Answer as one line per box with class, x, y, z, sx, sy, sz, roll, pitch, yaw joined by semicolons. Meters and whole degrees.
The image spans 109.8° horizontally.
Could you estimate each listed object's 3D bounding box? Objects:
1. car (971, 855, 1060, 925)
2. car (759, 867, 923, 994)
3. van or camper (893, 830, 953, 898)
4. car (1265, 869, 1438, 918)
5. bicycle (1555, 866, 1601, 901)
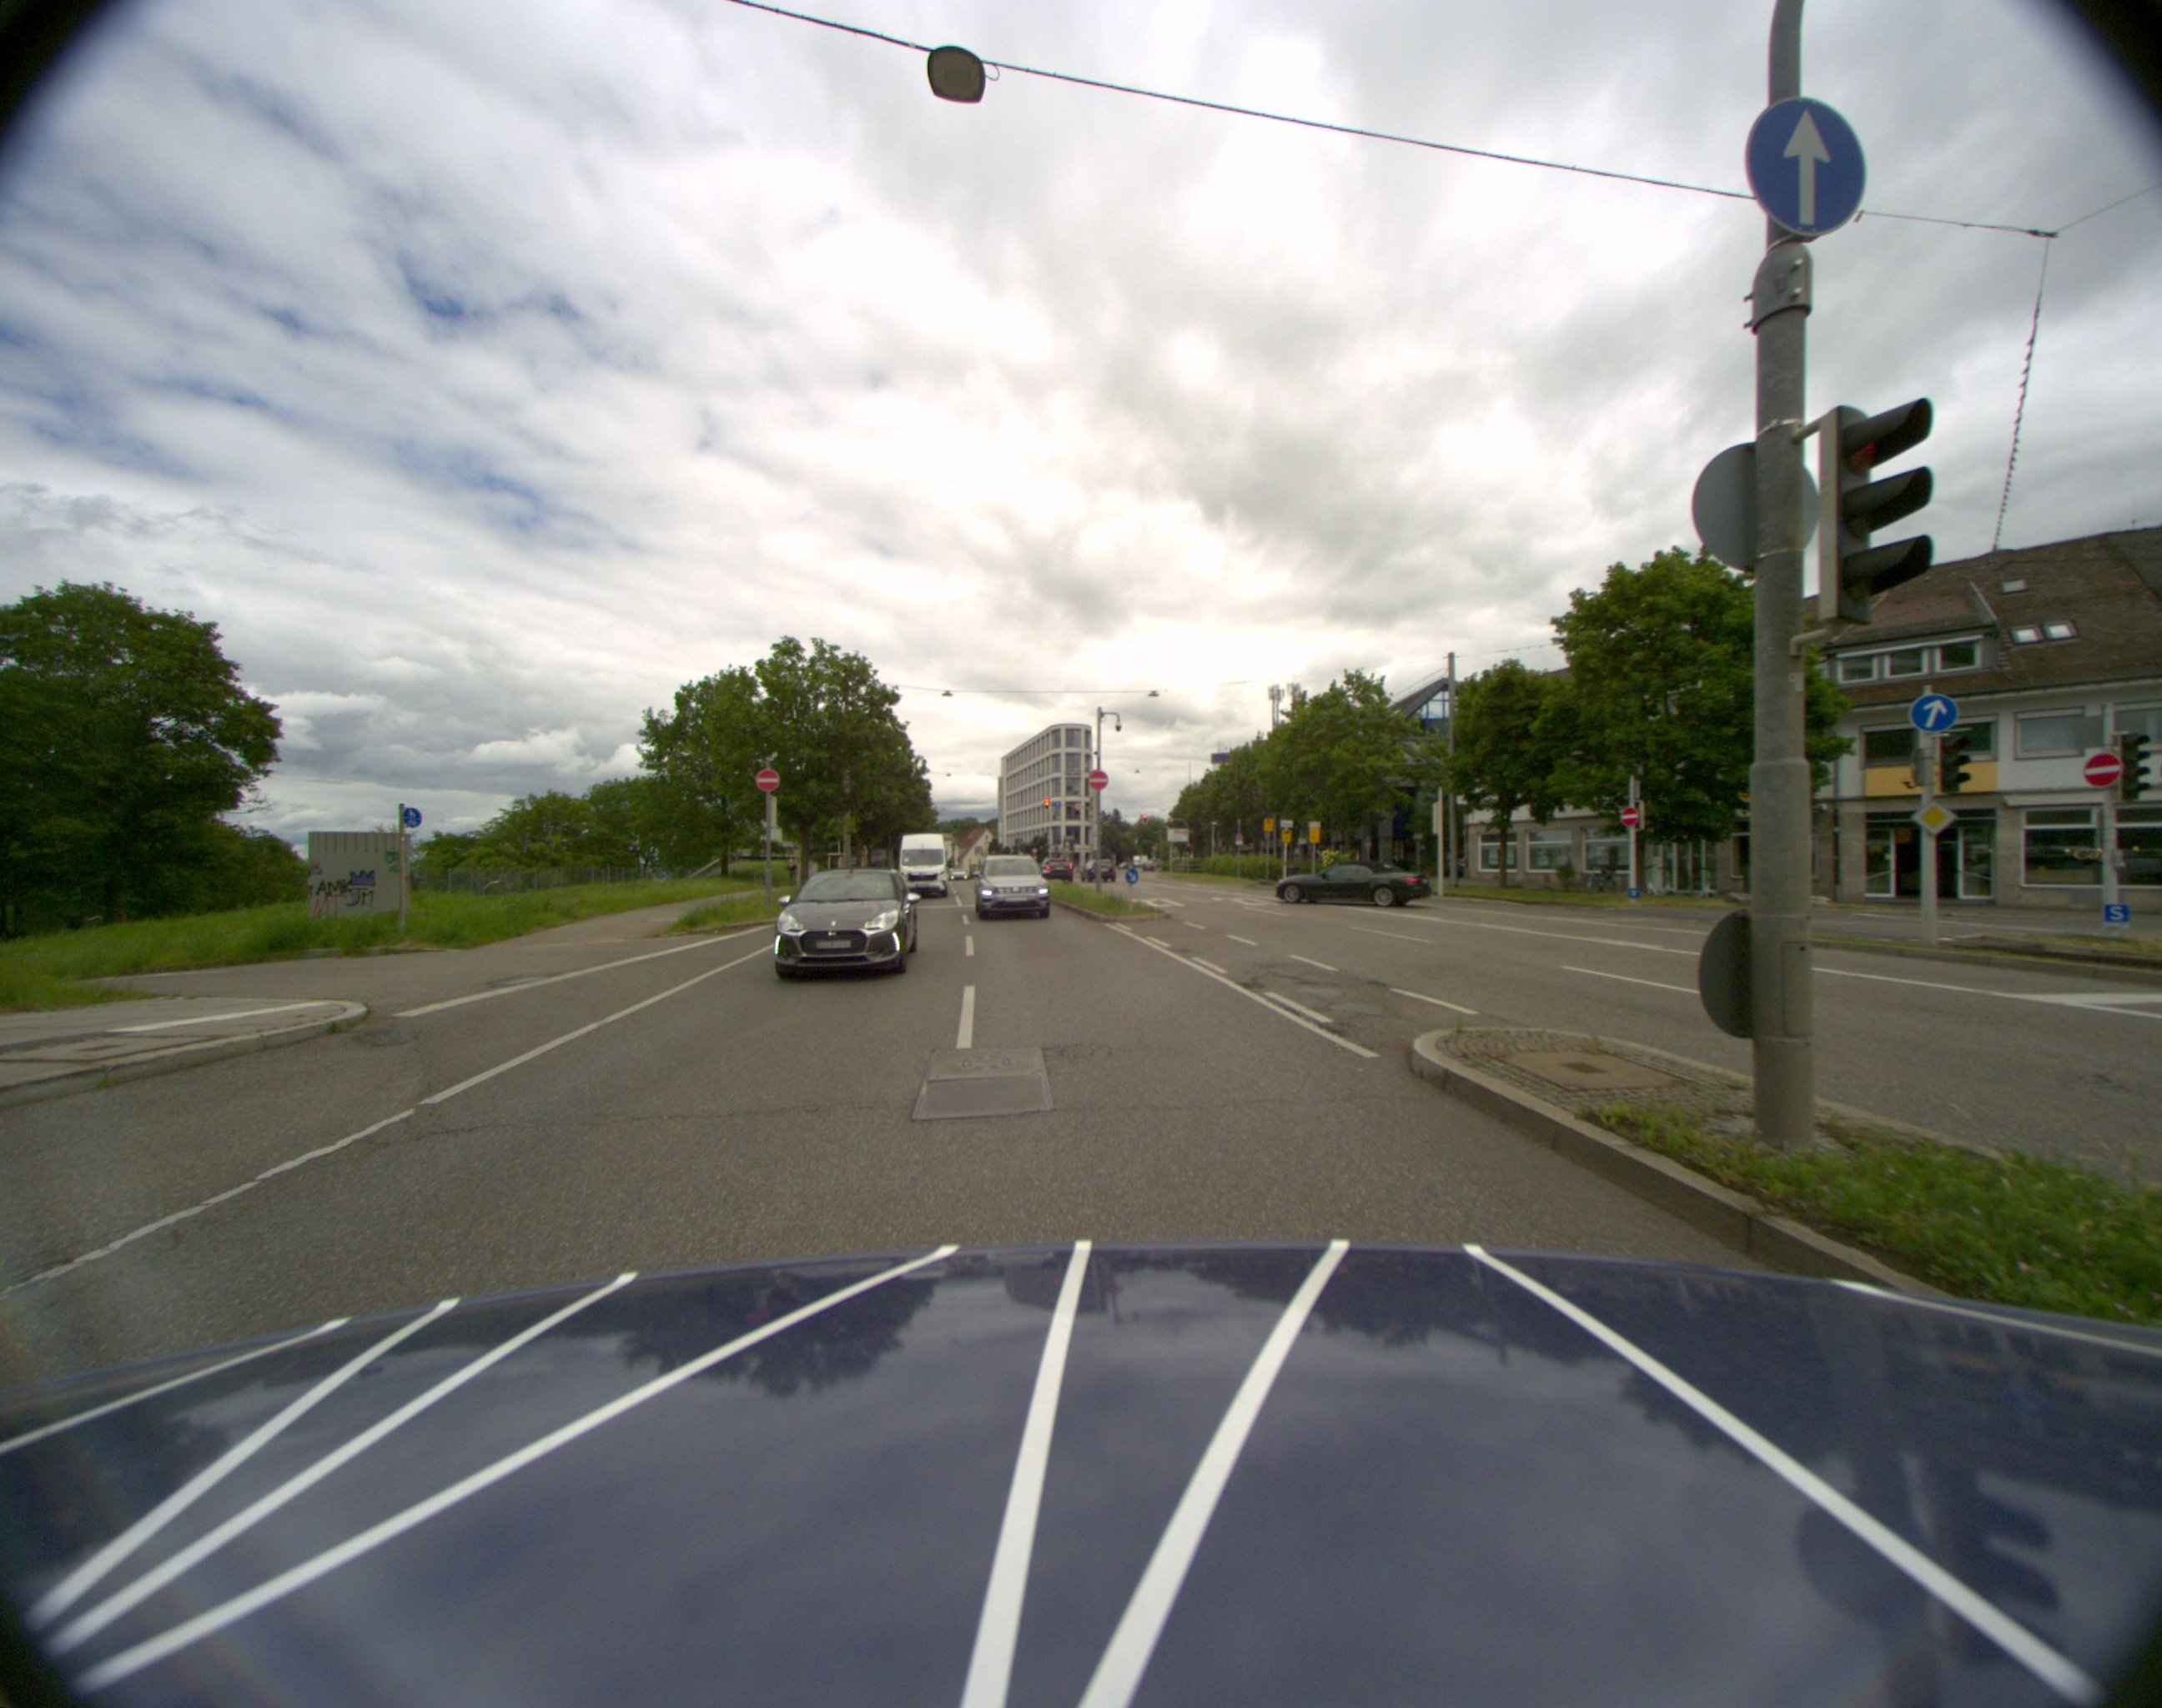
car;-1.913;0.890;20.901;2.000;1.640;4.389;-2;0;-10
car;-3.408;0.982;11.519;1.865;1.516;3.996;0;0;-10
van or camper;-6.853;0.422;33.698;2.281;2.690;6.989;0;0;-9
car;8.514;1.172;24.140;4.796;1.348;2.004;0;0;37
bicycle;18.453;1.080;28.204;1.686;1.246;0.625;-1;1;-25
